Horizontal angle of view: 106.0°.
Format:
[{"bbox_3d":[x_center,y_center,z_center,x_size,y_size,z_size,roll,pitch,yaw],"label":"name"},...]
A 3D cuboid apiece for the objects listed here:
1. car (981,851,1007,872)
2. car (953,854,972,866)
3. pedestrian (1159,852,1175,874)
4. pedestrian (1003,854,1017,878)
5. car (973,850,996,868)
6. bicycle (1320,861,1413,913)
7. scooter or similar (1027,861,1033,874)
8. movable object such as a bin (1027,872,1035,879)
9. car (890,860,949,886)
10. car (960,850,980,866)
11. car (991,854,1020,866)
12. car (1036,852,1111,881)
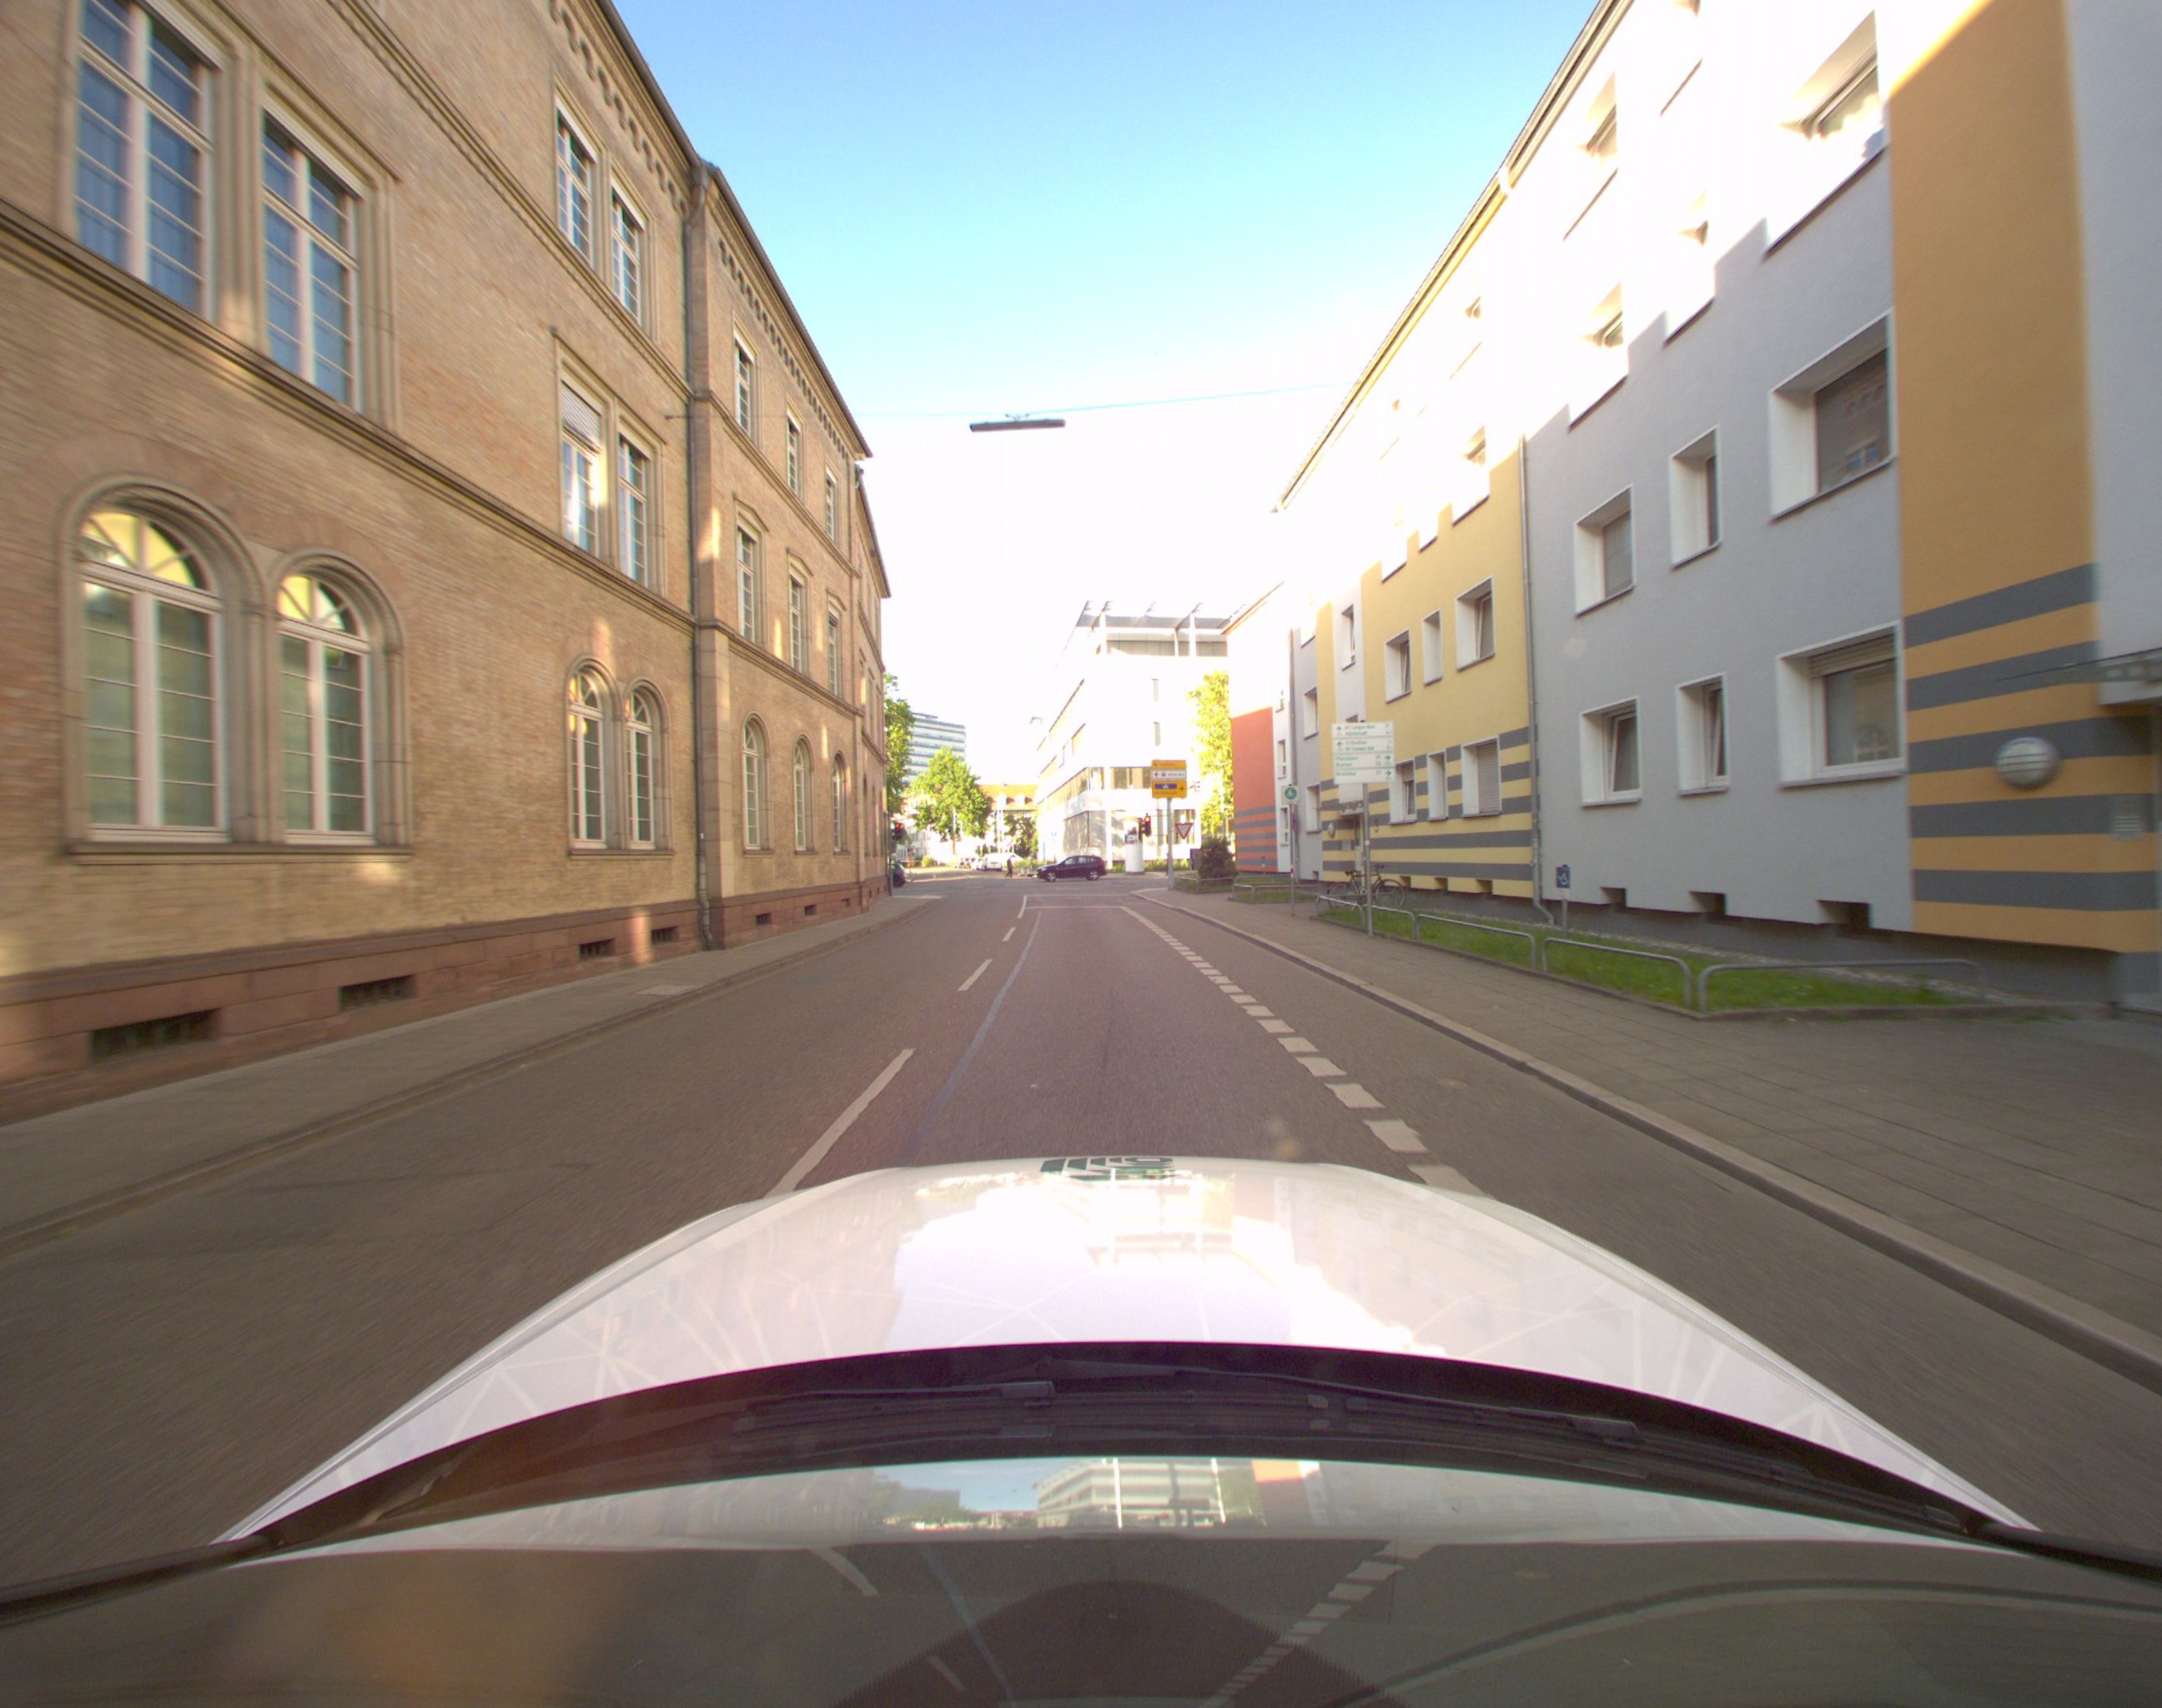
[{"bbox_3d":[-9.324,0.813,86.898,2.424,2.112,5.213,0,-1,-10],"label":"car"},{"bbox_3d":[-17.139,0.857,117.592,2.331,1.733,4.985,0,-1,-12],"label":"car"},{"bbox_3d":[6.032,0.622,57.105,0.927,1.515,0.844,0,-1,-11],"label":"pedestrian"},{"bbox_3d":[-5.253,0.884,60.186,0.927,1.759,0.844,0,-1,-11],"label":"pedestrian"},{"bbox_3d":[-11.665,0.659,98.131,2.331,2.112,4.985,0,-1,-12],"label":"car"},{"bbox_3d":[6.170,0.696,17.644,1.749,1.004,0.612,-3,-1,-3],"label":"bicycle"},{"bbox_3d":[-4.265,1.112,68.291,0.325,1.059,1.139,-2,0,-9],"label":"scooter or similar"},{"bbox_3d":[-3.797,1.617,61.842,0.590,0.480,0.285,-2,0,-14],"label":"movable object such as a bin"},{"bbox_3d":[-9.805,1.124,49.486,3.430,1.446,1.768,-2,-1,-11],"label":"car"},{"bbox_3d":[-14.695,0.538,107.620,2.331,2.112,4.985,0,-1,-12],"label":"car"},{"bbox_3d":[-11.563,0.919,124.509,4.001,1.915,1.906,0,-1,-21],"label":"car"},{"bbox_3d":[-0.495,0.750,51.060,4.366,1.633,1.993,-2,0,-10],"label":"car"}]
